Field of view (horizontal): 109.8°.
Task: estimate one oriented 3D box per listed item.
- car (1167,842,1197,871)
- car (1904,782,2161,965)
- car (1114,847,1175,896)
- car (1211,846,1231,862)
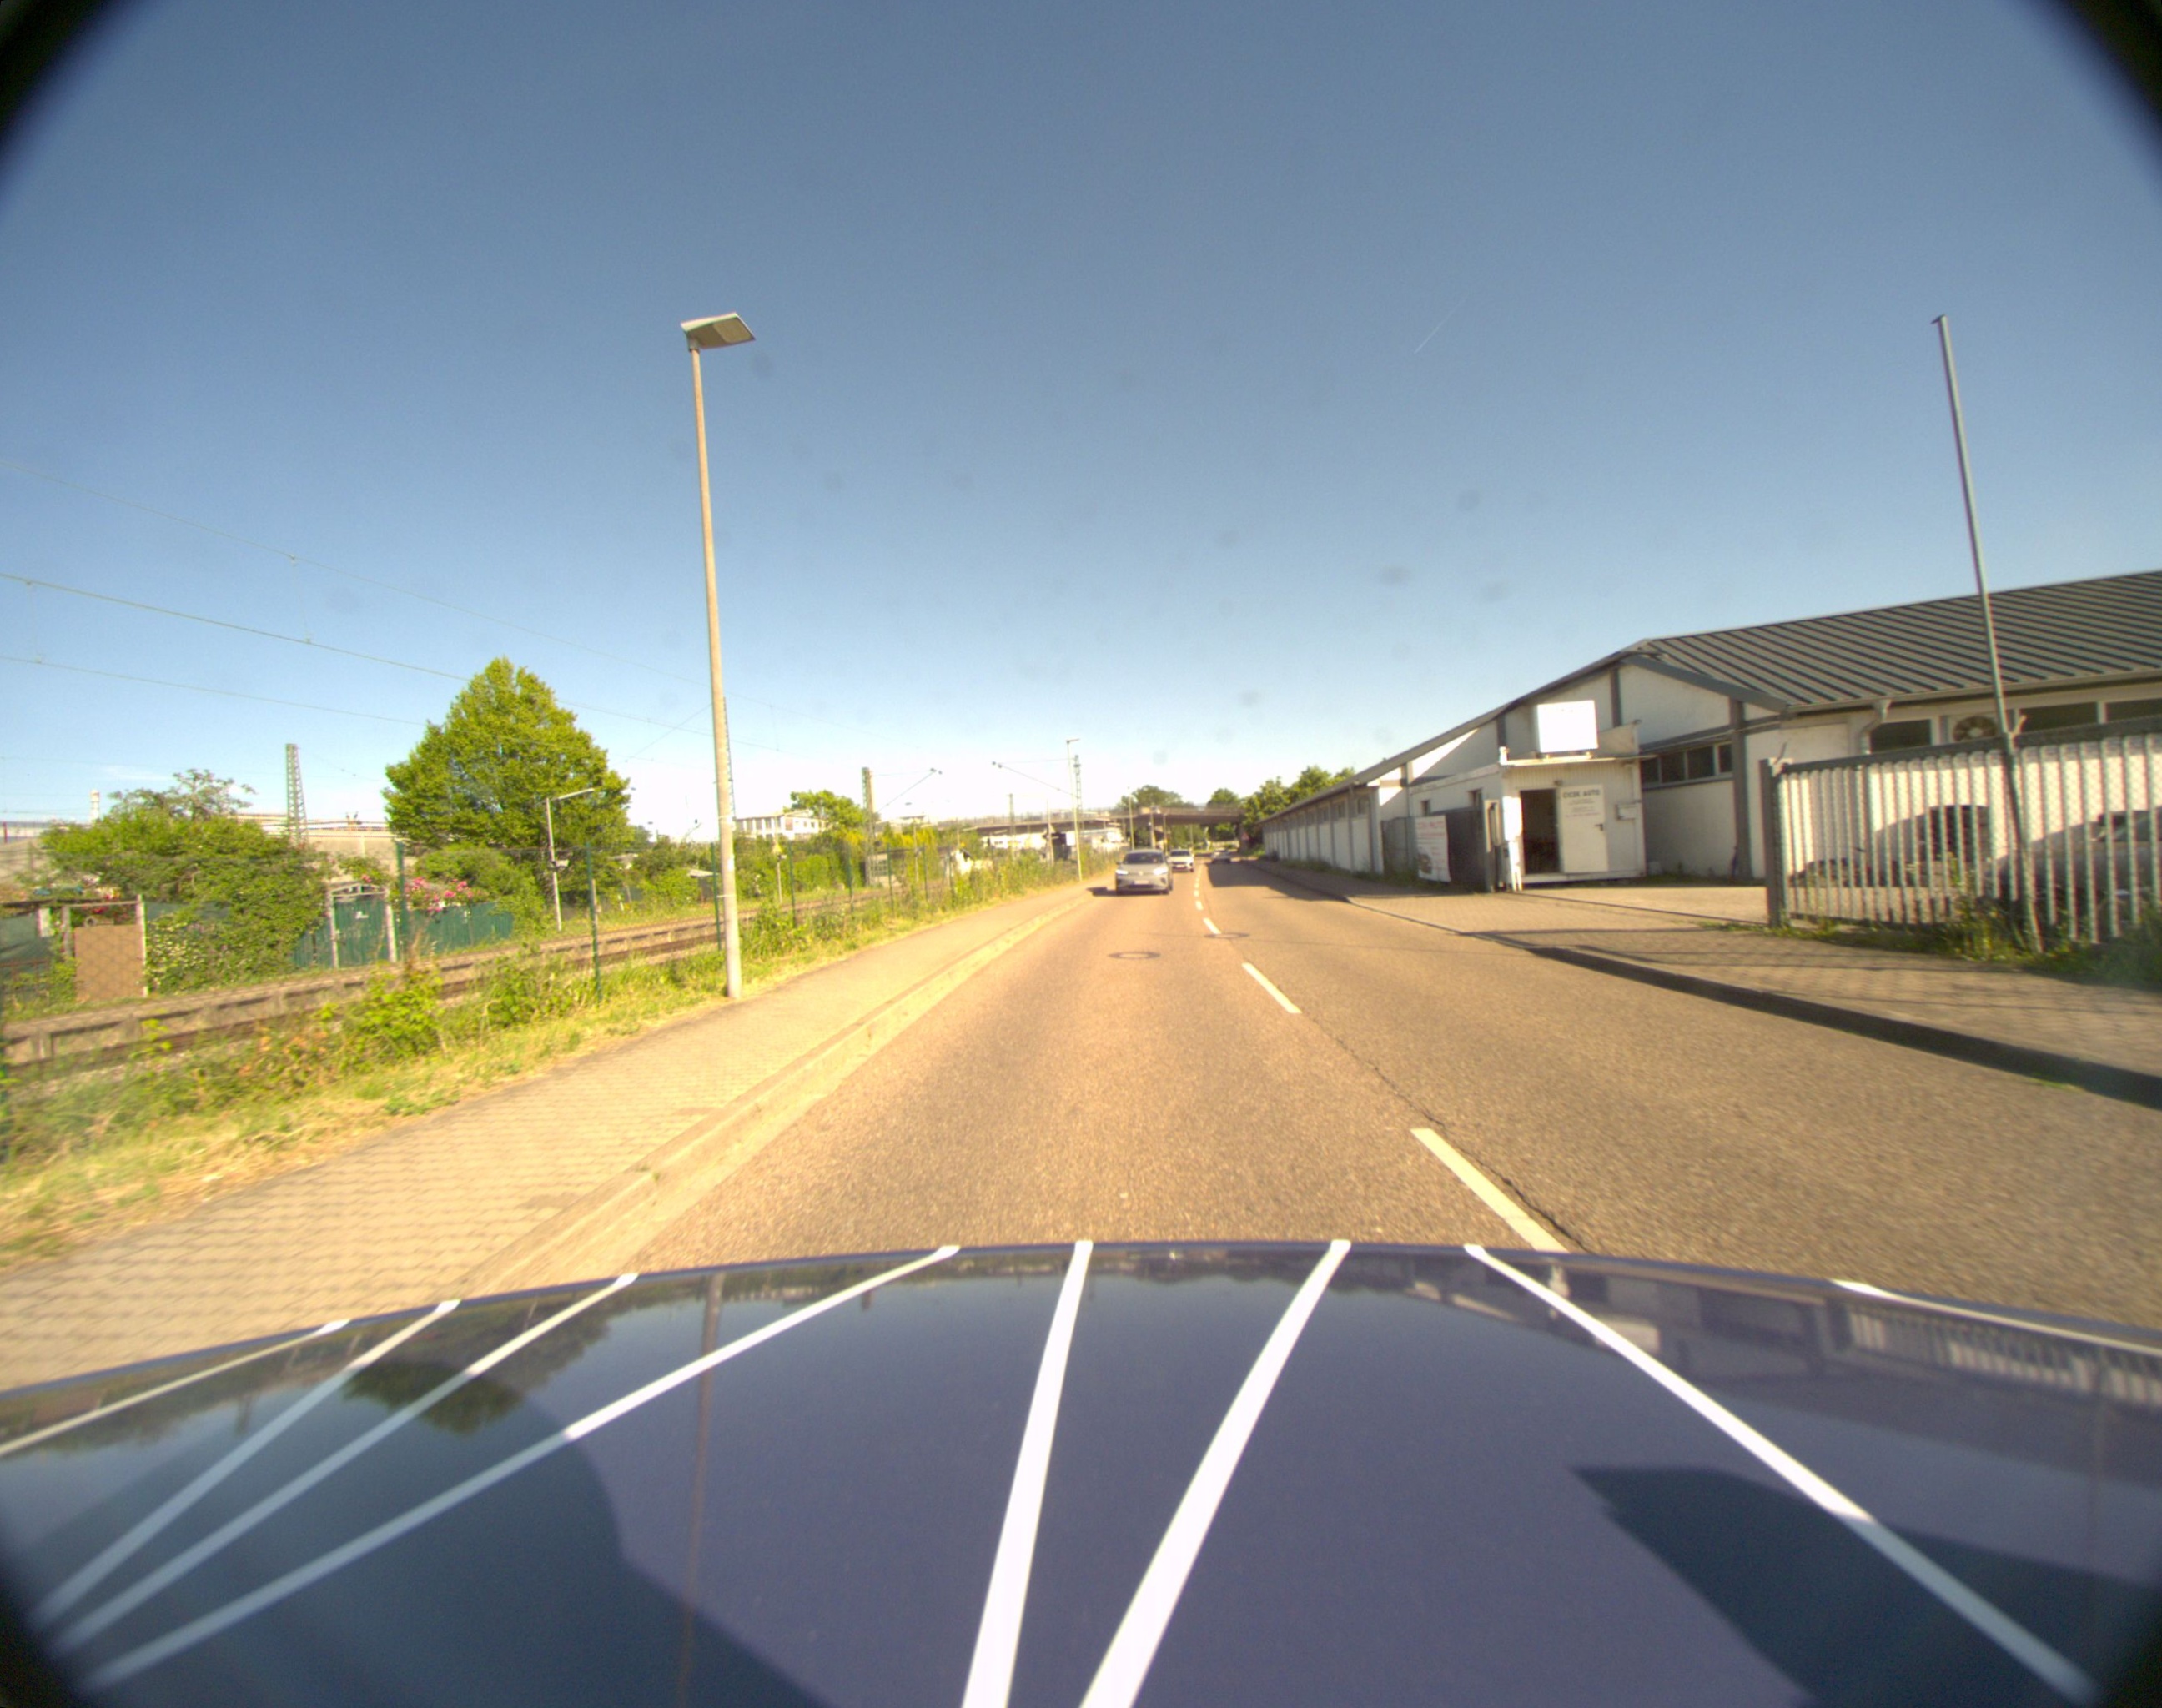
[{"bbox_3d":[6.838,0.119,51.580,1.881,1.814,4.297,-2,1,7],"label":"car"},{"bbox_3d":[10.993,0.026,7.190,4.401,1.498,1.840,-4,1,-1],"label":"car"},{"bbox_3d":[2.420,0.586,27.974,1.849,1.621,4.298,-1,0,10],"label":"car"},{"bbox_3d":[13.850,-0.043,75.256,1.812,1.469,4.690,-2,1,9],"label":"car"}]
